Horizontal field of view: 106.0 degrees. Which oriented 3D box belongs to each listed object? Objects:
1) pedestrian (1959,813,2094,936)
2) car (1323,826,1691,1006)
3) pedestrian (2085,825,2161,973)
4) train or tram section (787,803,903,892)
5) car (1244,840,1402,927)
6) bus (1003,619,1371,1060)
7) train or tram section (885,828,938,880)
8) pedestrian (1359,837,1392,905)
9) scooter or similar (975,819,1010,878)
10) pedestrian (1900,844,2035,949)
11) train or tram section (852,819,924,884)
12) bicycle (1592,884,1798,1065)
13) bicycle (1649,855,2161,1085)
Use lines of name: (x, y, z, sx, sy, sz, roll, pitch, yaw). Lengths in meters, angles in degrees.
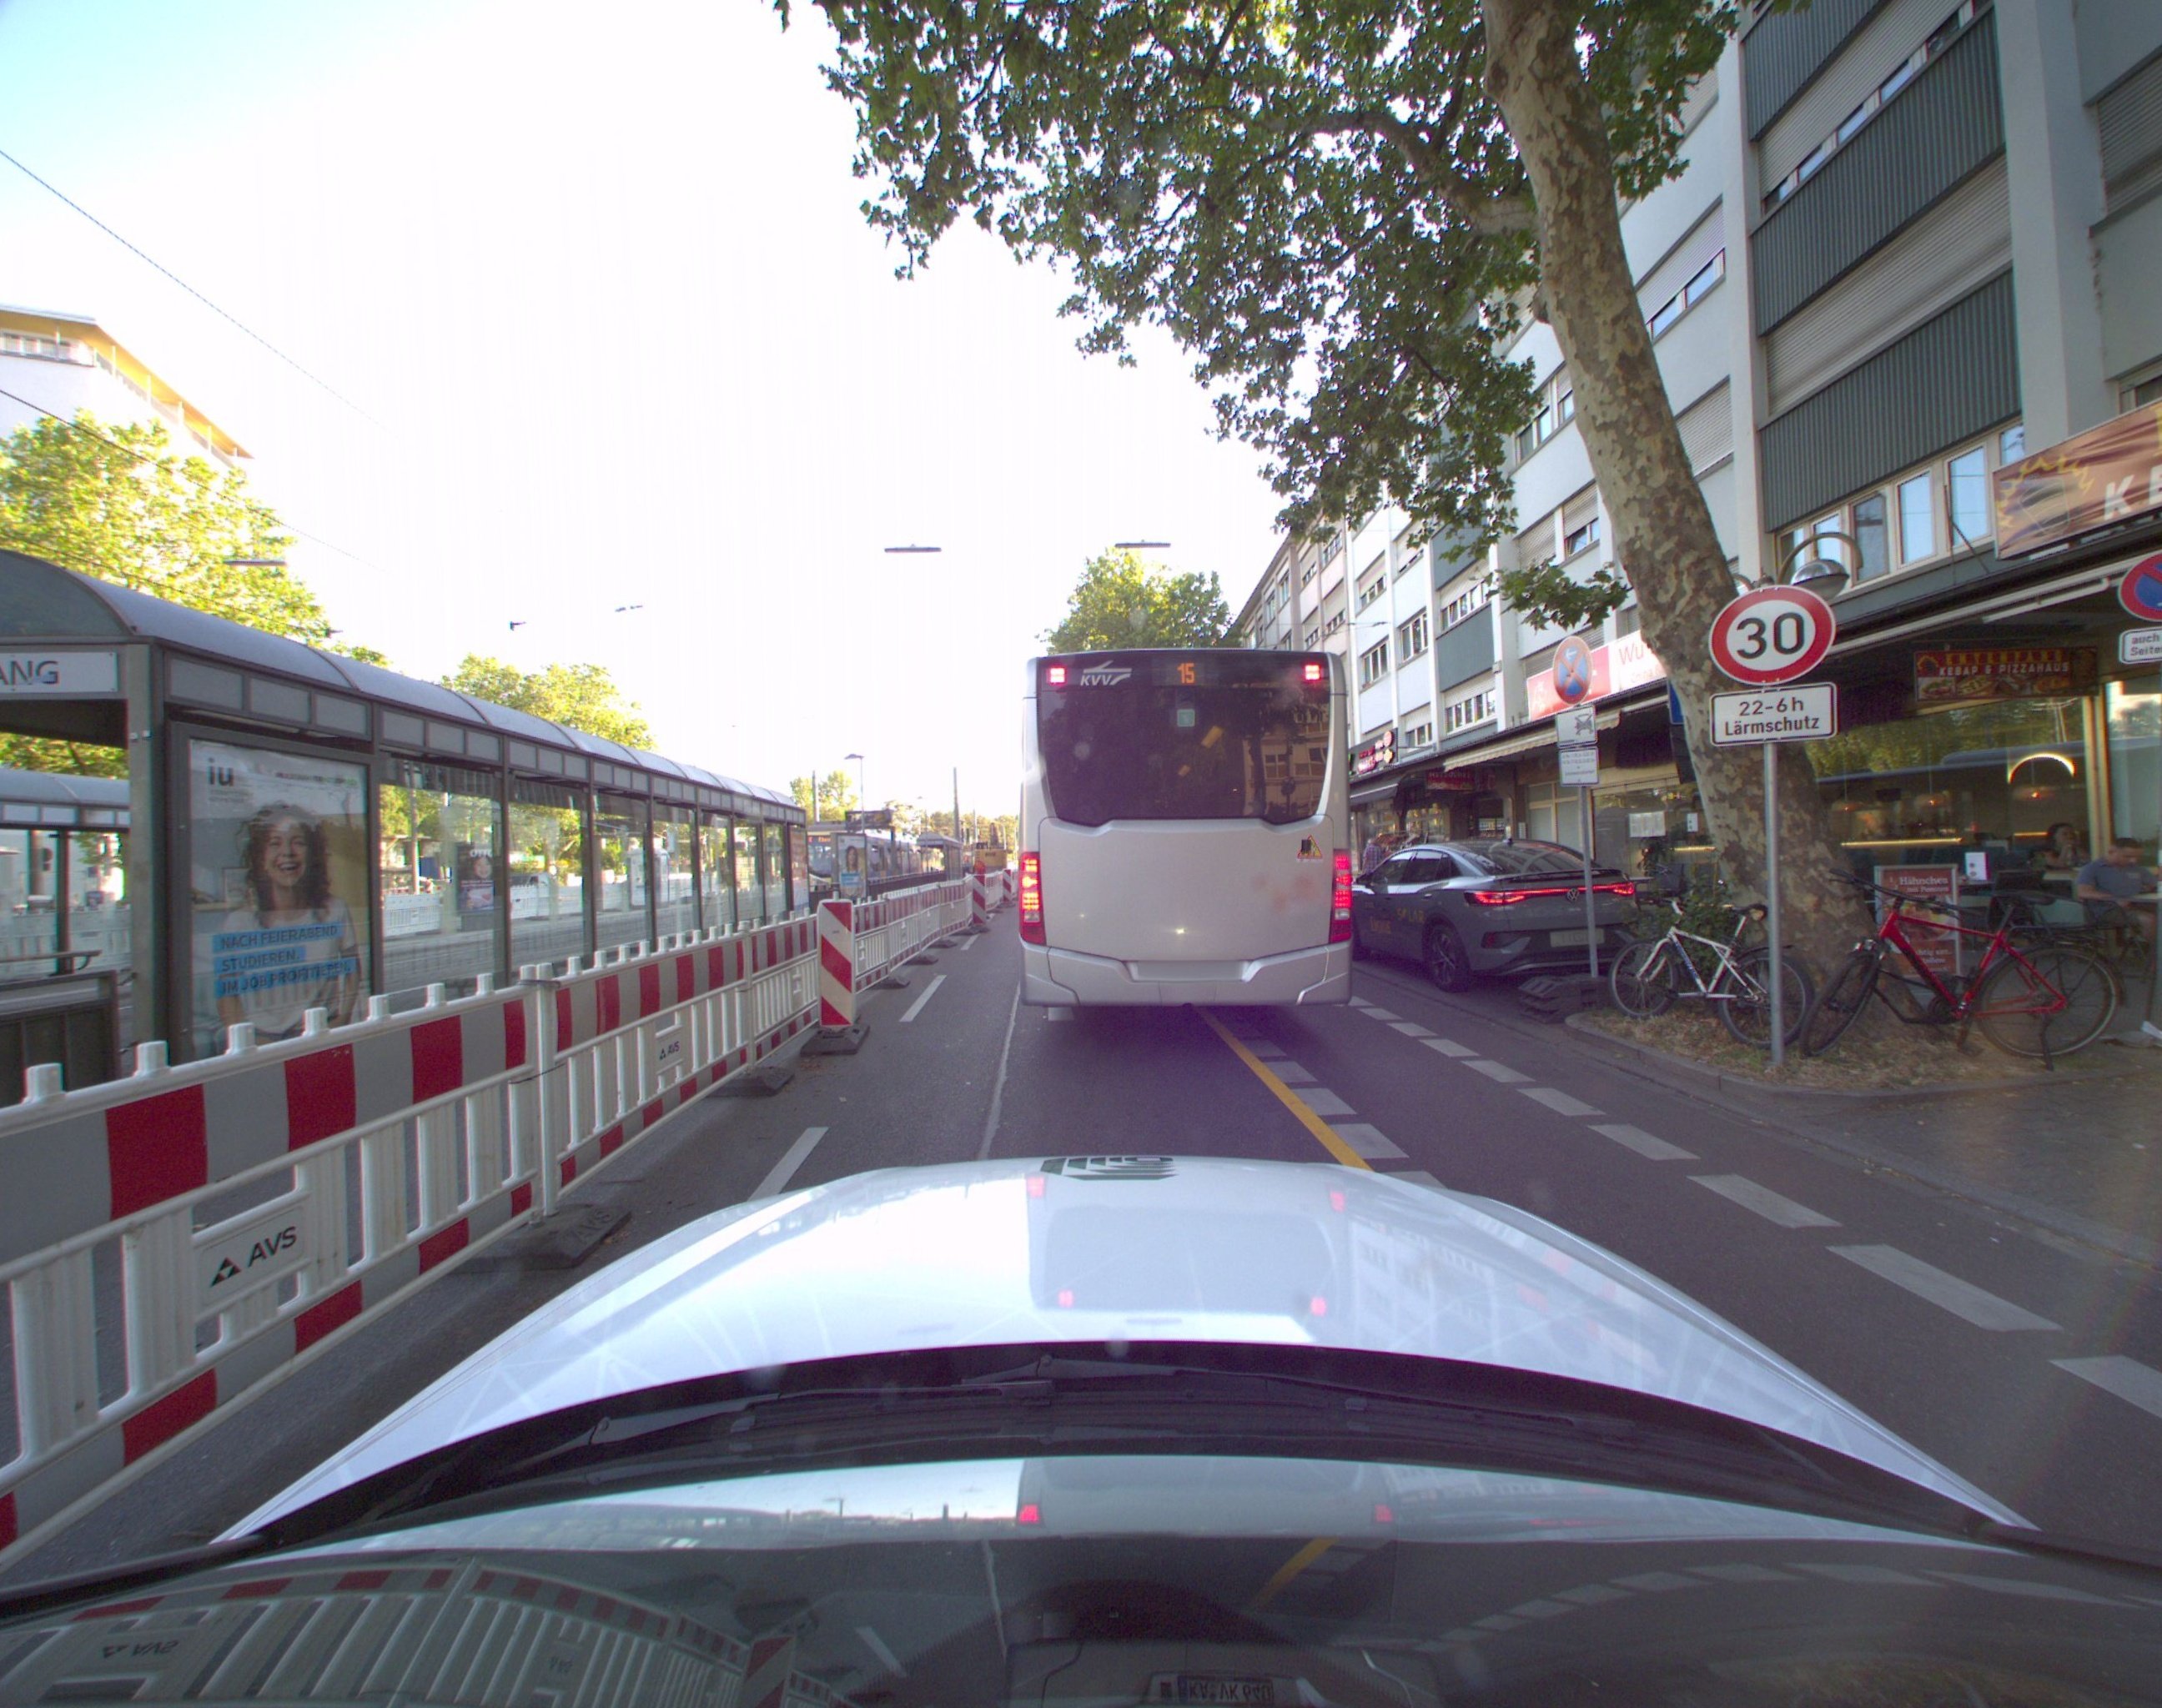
pedestrian: (11.045, 0.227, 9.528, 0.836, 1.333, 0.963, -2, -1, -39)
car: (4.737, 0.583, 9.967, 1.989, 1.582, 4.364, -4, 0, -3)
pedestrian: (9.526, 0.379, 7.131, 0.555, 1.245, 0.692, -4, 0, 8)
train or tram section: (-10.727, -0.225, 38.452, 2.681, 3.534, 11.756, 0, -1, -3)
car: (5.218, 0.578, 18.258, 1.989, 1.582, 4.364, -4, 0, -3)
bus: (0.878, -0.080, 9.792, 2.601, 3.126, 7.996, 0, 0, 2)
train or tram section: (-12.660, 0.036, 61.633, 2.683, 3.533, 11.558, 0, -1, -6)
pedestrian: (7.427, 0.431, 20.567, 0.658, 1.666, 0.603, -4, -1, 18)
scooter or similar: (-7.003, -0.404, 64.946, 2.465, 4.471, 5.961, -2, -1, -5)
pedestrian: (9.855, 0.451, 9.063, 0.643, 1.081, 0.945, -2, -1, -39)
train or tram section: (-11.625, -0.097, 50.112, 2.682, 3.558, 11.559, 0, -1, -5)
bicycle: (4.571, 0.835, 6.192, 0.550, 1.155, 1.446, -2, -1, 6)
bicycle: (5.055, 0.721, 5.051, 2.370, 1.155, 0.557, -7, -2, 14)
